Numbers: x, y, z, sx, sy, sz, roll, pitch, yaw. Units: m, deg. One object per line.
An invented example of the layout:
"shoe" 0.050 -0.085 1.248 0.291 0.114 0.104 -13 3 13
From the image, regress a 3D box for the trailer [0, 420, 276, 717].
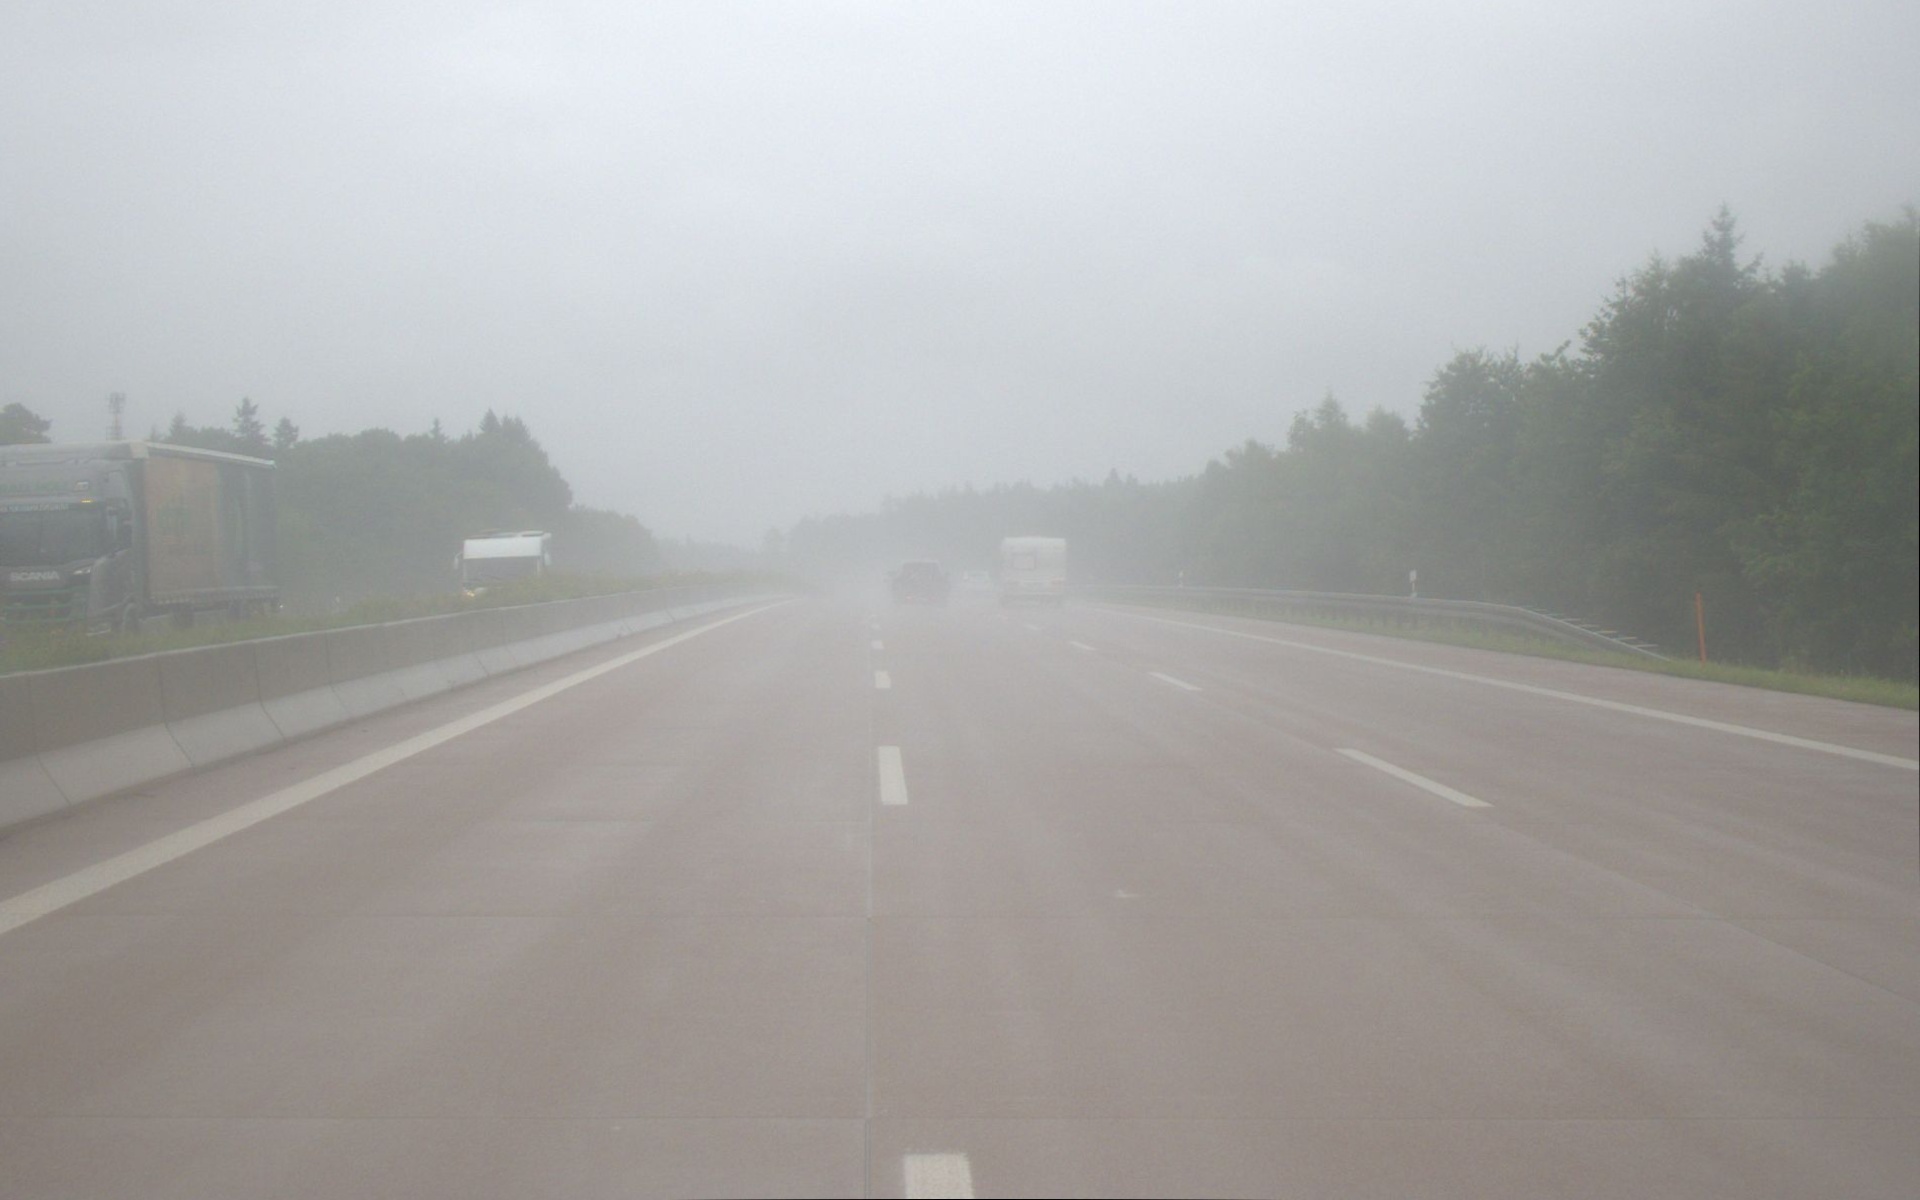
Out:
"trailer" -16.164 -0.625 65.674 3.990 5.042 14.238 1 1 -3

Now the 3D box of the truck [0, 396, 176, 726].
"truck" -15.812 -0.660 56.681 3.925 4.997 8.953 1 1 -2

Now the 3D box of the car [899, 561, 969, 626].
"car" -0.859 -0.242 113.420 2.173 1.974 4.130 3 1 -1

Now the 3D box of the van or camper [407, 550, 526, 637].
"van or camper" -14.543 -0.237 101.806 2.790 2.397 6.490 -2 1 -3
